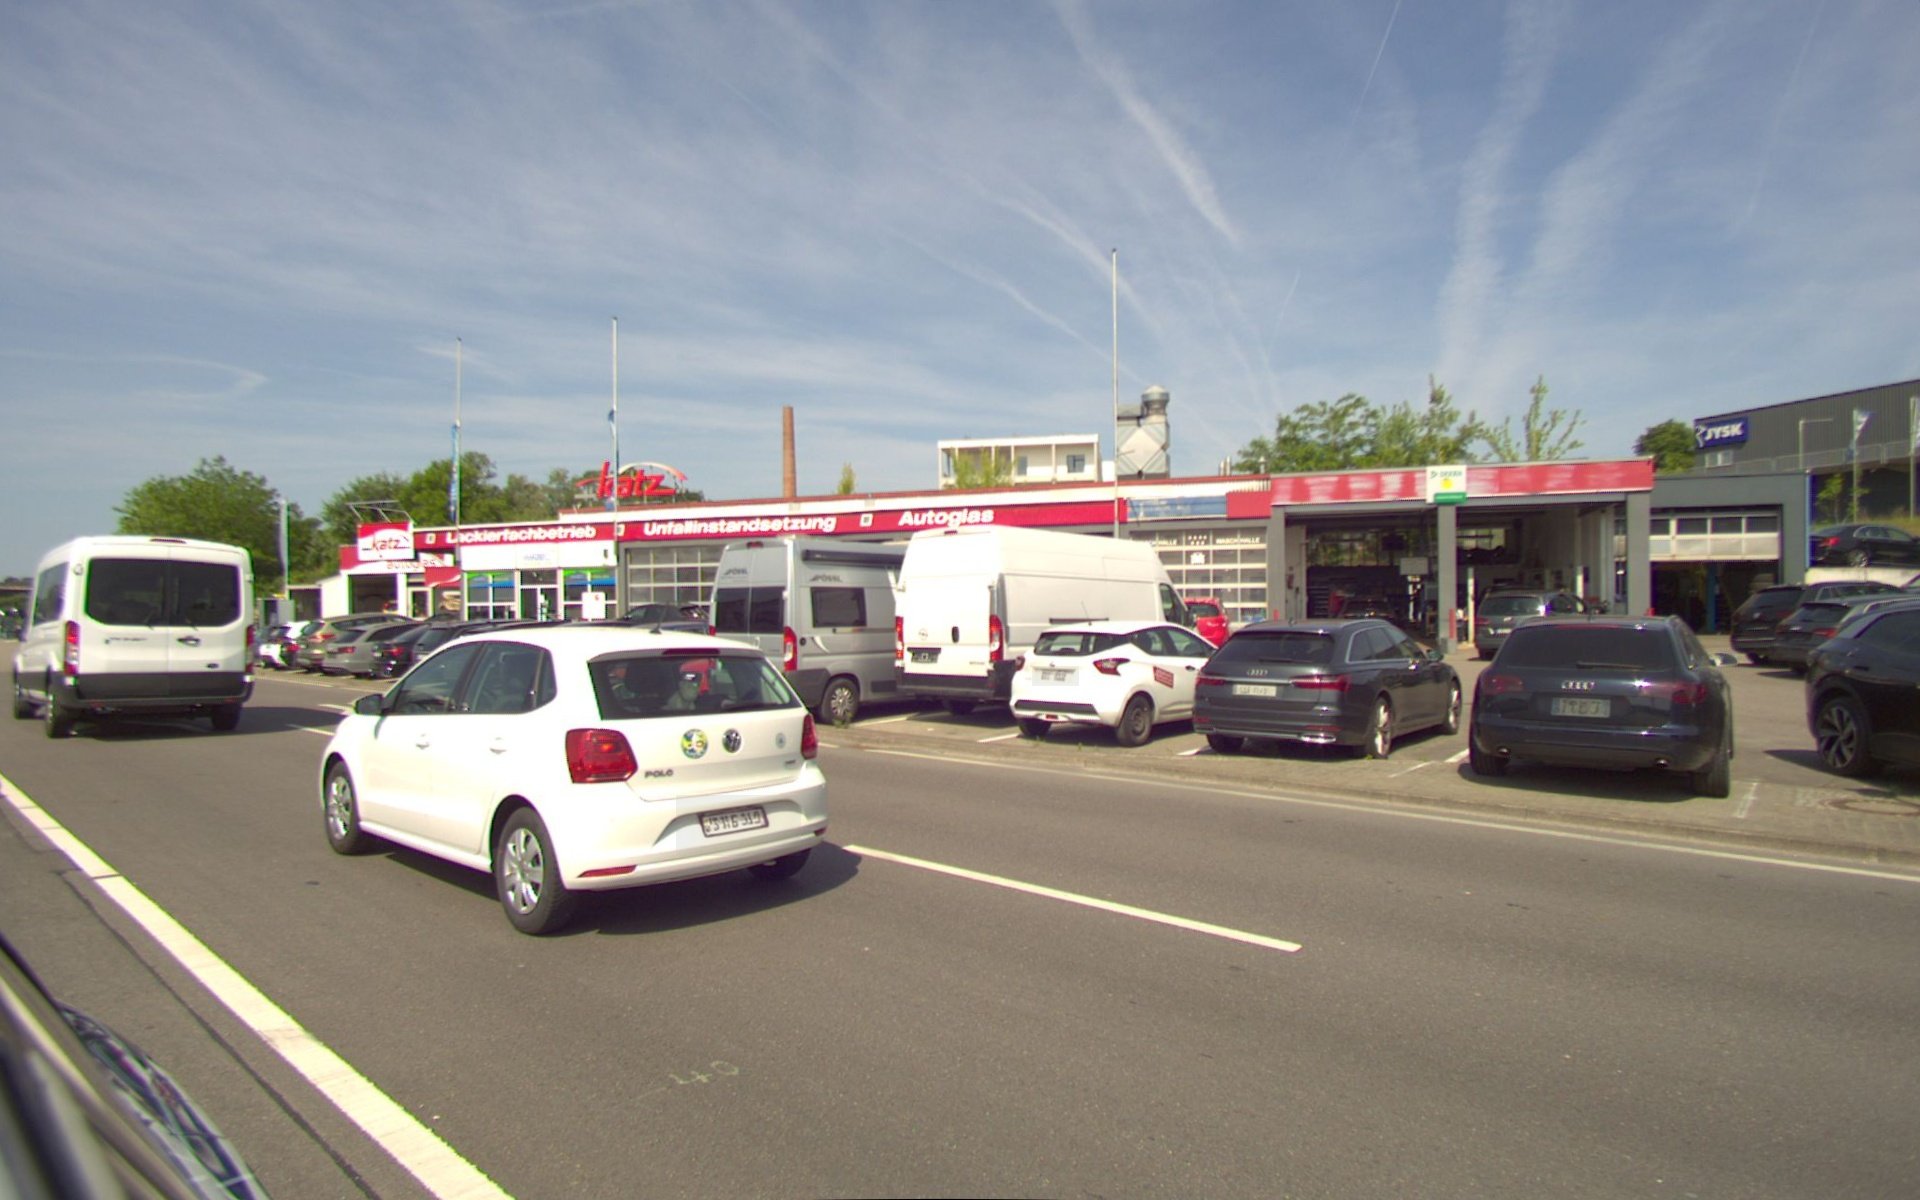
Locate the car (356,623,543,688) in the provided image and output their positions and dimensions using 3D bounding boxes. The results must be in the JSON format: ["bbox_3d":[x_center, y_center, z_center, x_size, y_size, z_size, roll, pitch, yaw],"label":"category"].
[{"bbox_3d":[-13.033,1.364,25.993,1.756,1.493,3.943,-1,-1,43],"label":"car"}]

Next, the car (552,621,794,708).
[{"bbox_3d":[-5.475,1.165,19.687,1.873,1.479,4.202,-1,-1,42],"label":"car"}]

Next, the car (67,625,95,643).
[{"bbox_3d":[-87.908,3.398,101.209,1.947,1.837,4.207,2,-3,-42],"label":"car"}]

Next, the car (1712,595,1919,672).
[{"bbox_3d":[17.511,0.643,19.918,4.045,1.421,1.776,0,-1,0],"label":"car"}]

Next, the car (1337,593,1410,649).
[{"bbox_3d":[13.036,0.608,31.762,1.858,1.574,4.067,-1,1,26],"label":"car"}]

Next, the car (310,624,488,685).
[{"bbox_3d":[-15.260,1.419,27.693,1.737,1.504,3.925,-1,-1,38],"label":"car"}]

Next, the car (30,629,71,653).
[{"bbox_3d":[-58.187,2.608,64.728,1.832,1.471,4.004,1,-1,-43],"label":"car"}]

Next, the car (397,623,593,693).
[{"bbox_3d":[-11.095,1.316,24.301,1.949,1.511,3.826,-1,-1,43],"label":"car"}]

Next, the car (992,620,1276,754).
[{"bbox_3d":[2.417,1.017,13.423,1.881,1.481,3.944,-1,-1,42],"label":"car"}]

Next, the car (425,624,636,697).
[{"bbox_3d":[-9.621,1.293,22.878,1.945,1.463,3.945,-1,-1,41],"label":"car"}]

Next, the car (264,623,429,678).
[{"bbox_3d":[-18.847,1.506,31.214,1.998,1.537,3.947,-1,-1,39],"label":"car"}]

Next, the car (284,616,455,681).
[{"bbox_3d":[-17.108,1.347,29.449,1.871,1.740,3.944,-1,-1,42],"label":"car"}]

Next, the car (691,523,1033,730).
[{"bbox_3d":[-1.378,0.394,16.461,2.177,2.794,5.506,-1,-1,42],"label":"car"}]

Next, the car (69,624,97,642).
[{"bbox_3d":[-89.749,3.393,103.545,2.024,1.837,4.513,2,-3,-42],"label":"car"}]

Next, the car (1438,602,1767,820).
[{"bbox_3d":[6.095,0.823,9.386,2.030,1.542,3.993,-1,-1,40],"label":"car"}]

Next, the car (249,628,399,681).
[{"bbox_3d":[-20.774,1.725,33.164,1.940,1.562,3.750,-1,-1,39],"label":"car"}]

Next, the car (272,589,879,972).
[{"bbox_3d":[-2.495,0.800,6.085,3.996,1.567,1.636,-1,-3,40],"label":"car"}]

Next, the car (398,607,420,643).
[{"bbox_3d":[-28.799,1.279,52.881,0.868,1.850,0.847,0,-1,-36],"label":"car"}]

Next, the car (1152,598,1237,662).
[{"bbox_3d":[6.503,0.788,27.747,1.902,1.630,3.975,-1,-1,18],"label":"car"}]

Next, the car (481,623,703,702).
[{"bbox_3d":[-7.596,1.222,21.149,1.905,1.465,3.945,-1,-1,41],"label":"car"}]

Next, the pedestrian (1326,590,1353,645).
[{"bbox_3d":[12.190,0.549,32.525,0.739,1.740,0.860,-1,1,25],"label":"pedestrian"}]

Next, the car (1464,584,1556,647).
[{"bbox_3d":[16.983,0.481,31.442,1.736,1.821,4.078,-1,-1,18],"label":"car"}]

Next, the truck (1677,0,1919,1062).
[{"bbox_3d":[7.449,-0.521,1.762,9.963,4.028,2.685,-1,-1,39],"label":"truck"}]

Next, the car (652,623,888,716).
[{"bbox_3d":[-3.335,1.160,18.248,1.827,1.442,3.896,-1,-1,42],"label":"car"}]

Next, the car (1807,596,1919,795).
[{"bbox_3d":[8.697,0.762,7.484,2.010,1.635,4.165,-1,-1,13],"label":"car"}]

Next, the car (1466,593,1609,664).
[{"bbox_3d":[14.441,0.681,25.226,4.039,1.620,1.887,1,-1,-41],"label":"car"}]

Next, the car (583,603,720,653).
[{"bbox_3d":[-10.835,0.991,35.505,4.508,1.667,1.860,-1,-1,24],"label":"car"}]

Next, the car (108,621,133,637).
[{"bbox_3d":[-96.534,3.344,116.351,2.023,1.837,4.517,2,-3,-38],"label":"car"}]

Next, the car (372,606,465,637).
[{"bbox_3d":[-30.561,1.182,57.293,1.863,1.667,4.502,-1,-1,22],"label":"car"}]

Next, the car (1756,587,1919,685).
[{"bbox_3d":[16.807,0.557,17.630,4.284,1.535,1.893,-2,0,0],"label":"car"}]

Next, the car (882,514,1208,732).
[{"bbox_3d":[1.562,0.355,16.077,2.116,2.860,5.647,-3,-2,42],"label":"car"}]

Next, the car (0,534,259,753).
[{"bbox_3d":[-12.509,0.568,14.840,7.111,2.529,2.037,-1,-1,42],"label":"car"}]

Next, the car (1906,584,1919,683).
[{"bbox_3d":[16.910,0.444,15.030,4.038,1.535,1.812,-2,0,-2],"label":"car"}]

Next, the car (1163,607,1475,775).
[{"bbox_3d":[4.283,0.876,11.643,2.028,1.542,4.323,-1,-1,40],"label":"car"}]
